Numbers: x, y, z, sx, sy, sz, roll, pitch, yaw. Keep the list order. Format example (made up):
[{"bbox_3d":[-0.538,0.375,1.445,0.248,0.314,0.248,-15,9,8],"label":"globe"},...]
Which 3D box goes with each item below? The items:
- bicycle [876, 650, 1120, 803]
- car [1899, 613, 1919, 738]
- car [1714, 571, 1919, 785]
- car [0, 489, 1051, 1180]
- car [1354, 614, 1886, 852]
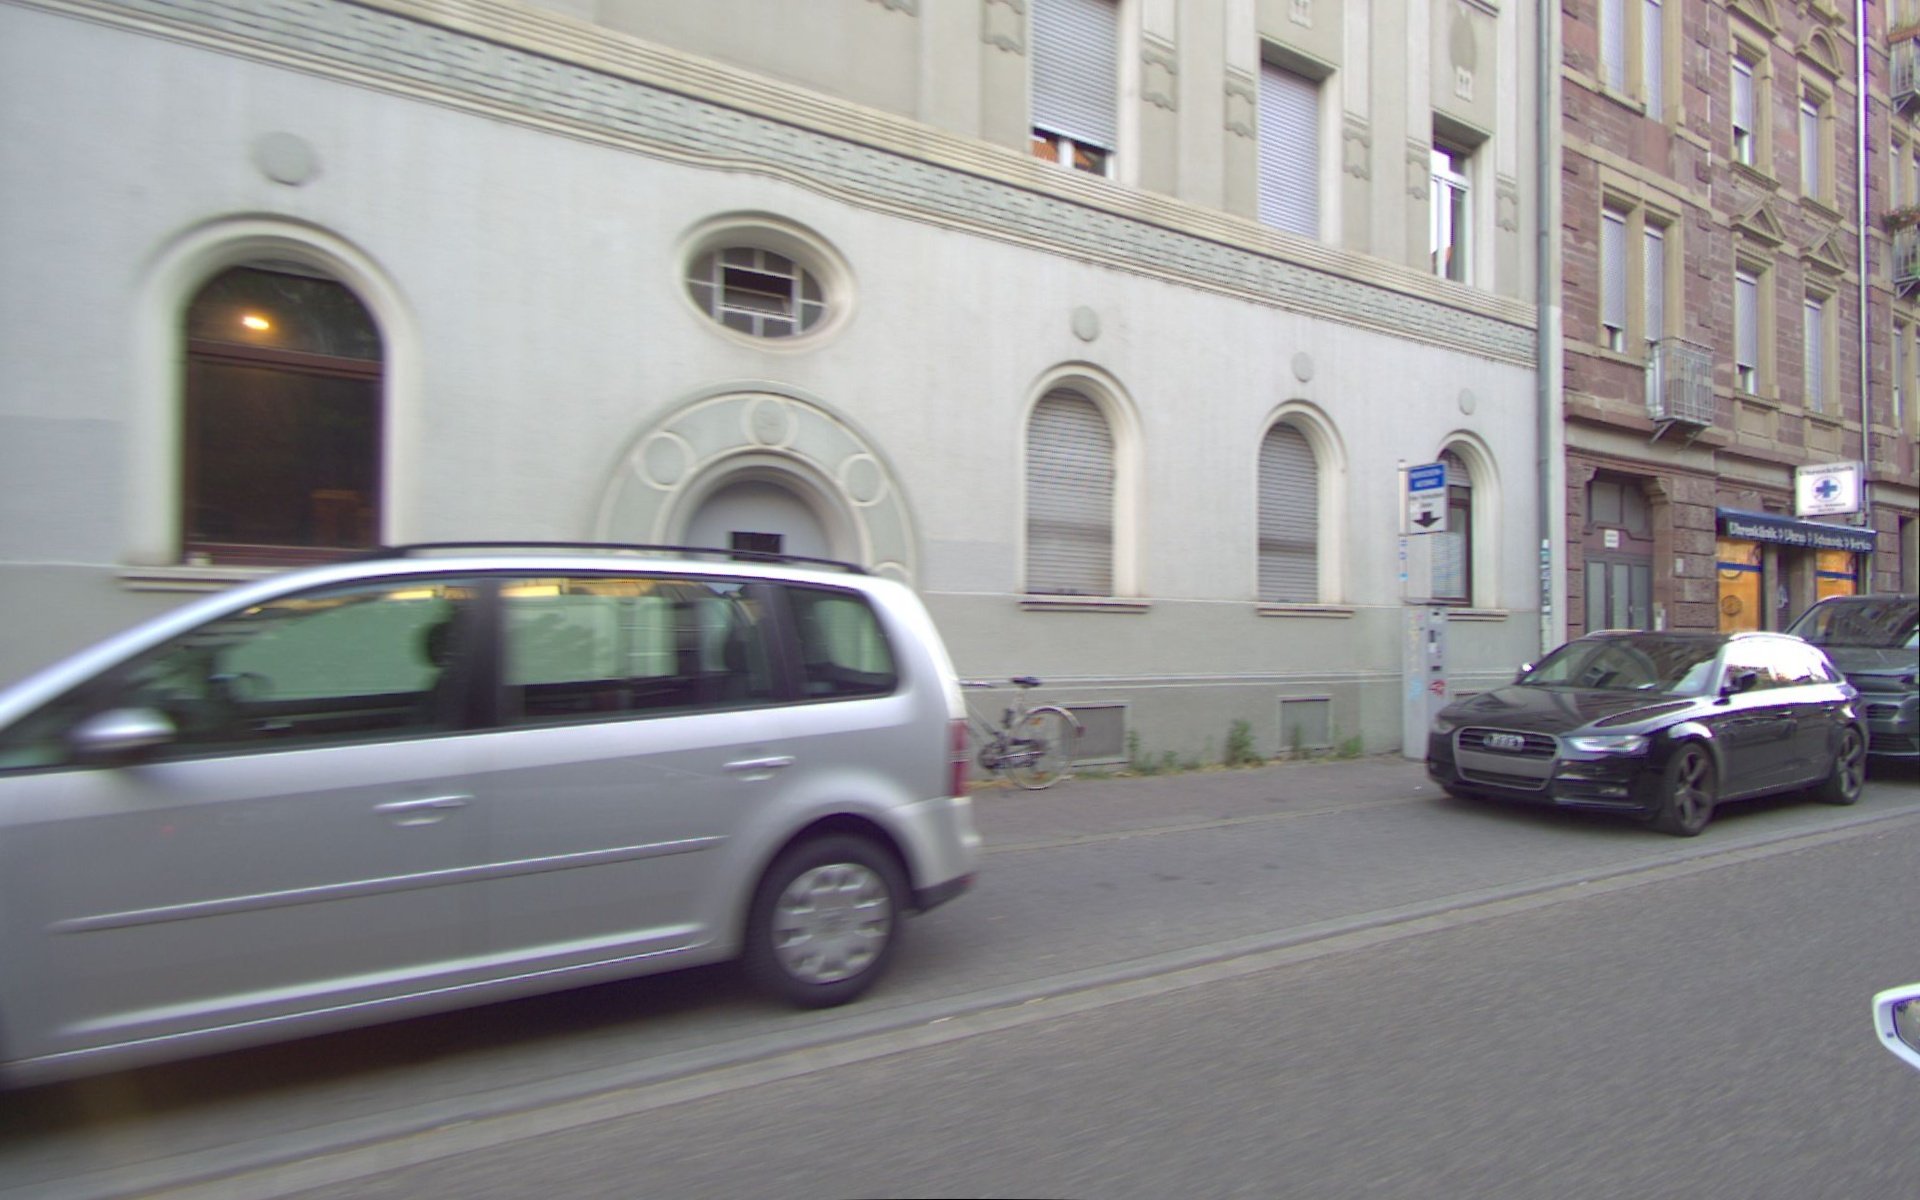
[{"bbox_3d":[0.343,0.979,8.214,2.005,1.110,0.557,1,-1,-30],"label":"bicycle"},{"bbox_3d":[15.022,1.033,13.841,4.018,1.685,1.897,1,-2,-29],"label":"car"},{"bbox_3d":[10.547,0.767,11.001,4.887,1.951,1.896,1,-1,-30],"label":"car"},{"bbox_3d":[-1.974,0.580,3.666,4.264,1.612,1.984,1,-1,-31],"label":"car"},{"bbox_3d":[5.542,0.902,8.306,4.481,1.491,1.902,2,-1,-30],"label":"car"}]
